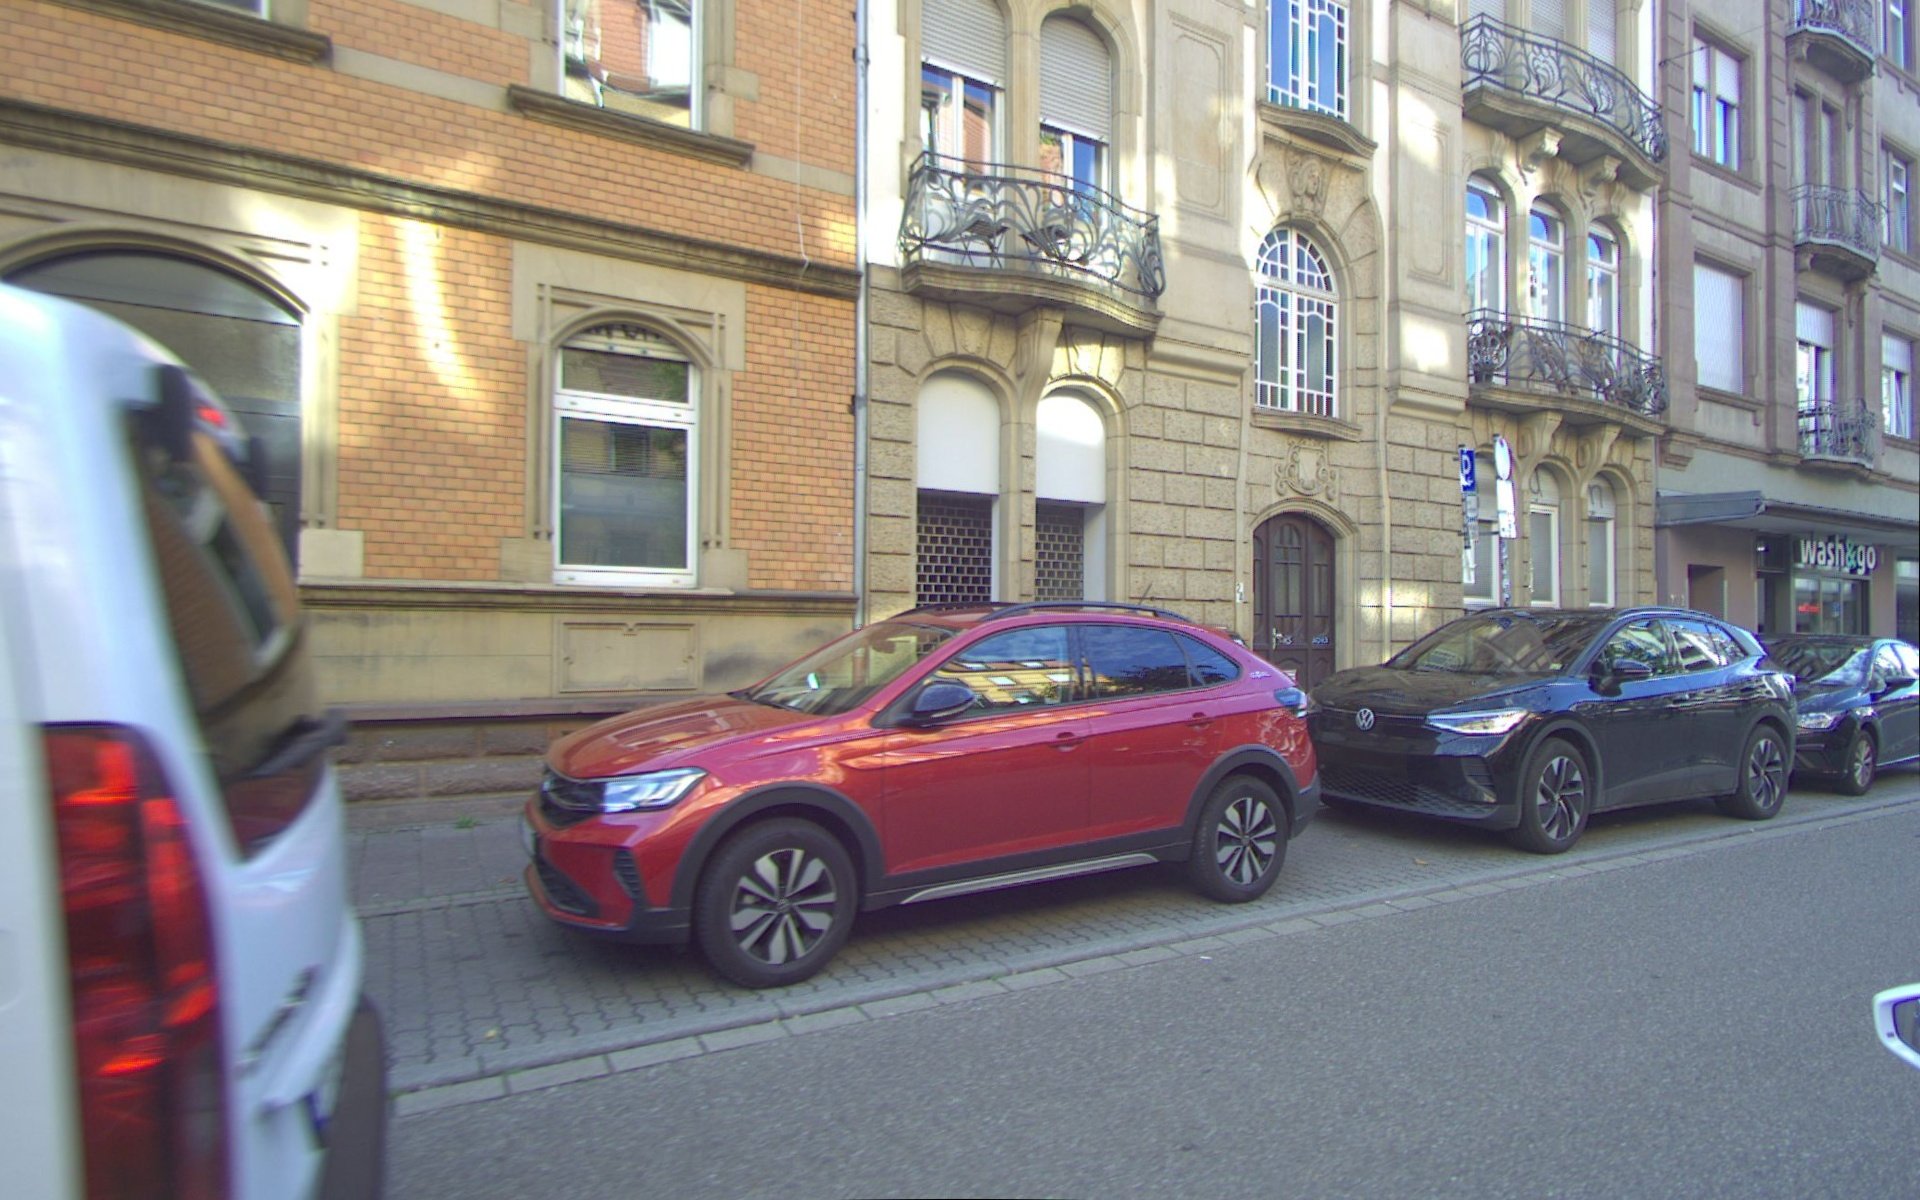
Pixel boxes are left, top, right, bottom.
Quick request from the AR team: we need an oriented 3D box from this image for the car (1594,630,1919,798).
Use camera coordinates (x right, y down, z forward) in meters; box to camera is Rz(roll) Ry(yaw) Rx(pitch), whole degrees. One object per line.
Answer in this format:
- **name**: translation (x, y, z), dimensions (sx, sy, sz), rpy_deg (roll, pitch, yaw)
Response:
- **car**: translation (8.829, 1.047, 10.544), dimensions (4.195, 1.439, 1.984), rpy_deg (1, -2, -30)

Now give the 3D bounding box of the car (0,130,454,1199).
- **car**: translation (-2.845, 0.524, 0.684), dimensions (4.384, 1.852, 1.909), rpy_deg (1, -1, -29)

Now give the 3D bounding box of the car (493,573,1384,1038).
- **car**: translation (0.006, 0.777, 5.380), dimensions (4.375, 1.565, 1.984), rpy_deg (2, -2, -31)

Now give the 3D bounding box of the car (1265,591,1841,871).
- **car**: translation (4.781, 0.863, 7.912), dimensions (4.789, 1.650, 1.783), rpy_deg (2, -2, -30)

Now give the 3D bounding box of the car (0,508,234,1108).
- **car**: translation (-4.892, 0.571, 2.530), dimensions (4.842, 1.703, 1.862), rpy_deg (1, 0, -33)
